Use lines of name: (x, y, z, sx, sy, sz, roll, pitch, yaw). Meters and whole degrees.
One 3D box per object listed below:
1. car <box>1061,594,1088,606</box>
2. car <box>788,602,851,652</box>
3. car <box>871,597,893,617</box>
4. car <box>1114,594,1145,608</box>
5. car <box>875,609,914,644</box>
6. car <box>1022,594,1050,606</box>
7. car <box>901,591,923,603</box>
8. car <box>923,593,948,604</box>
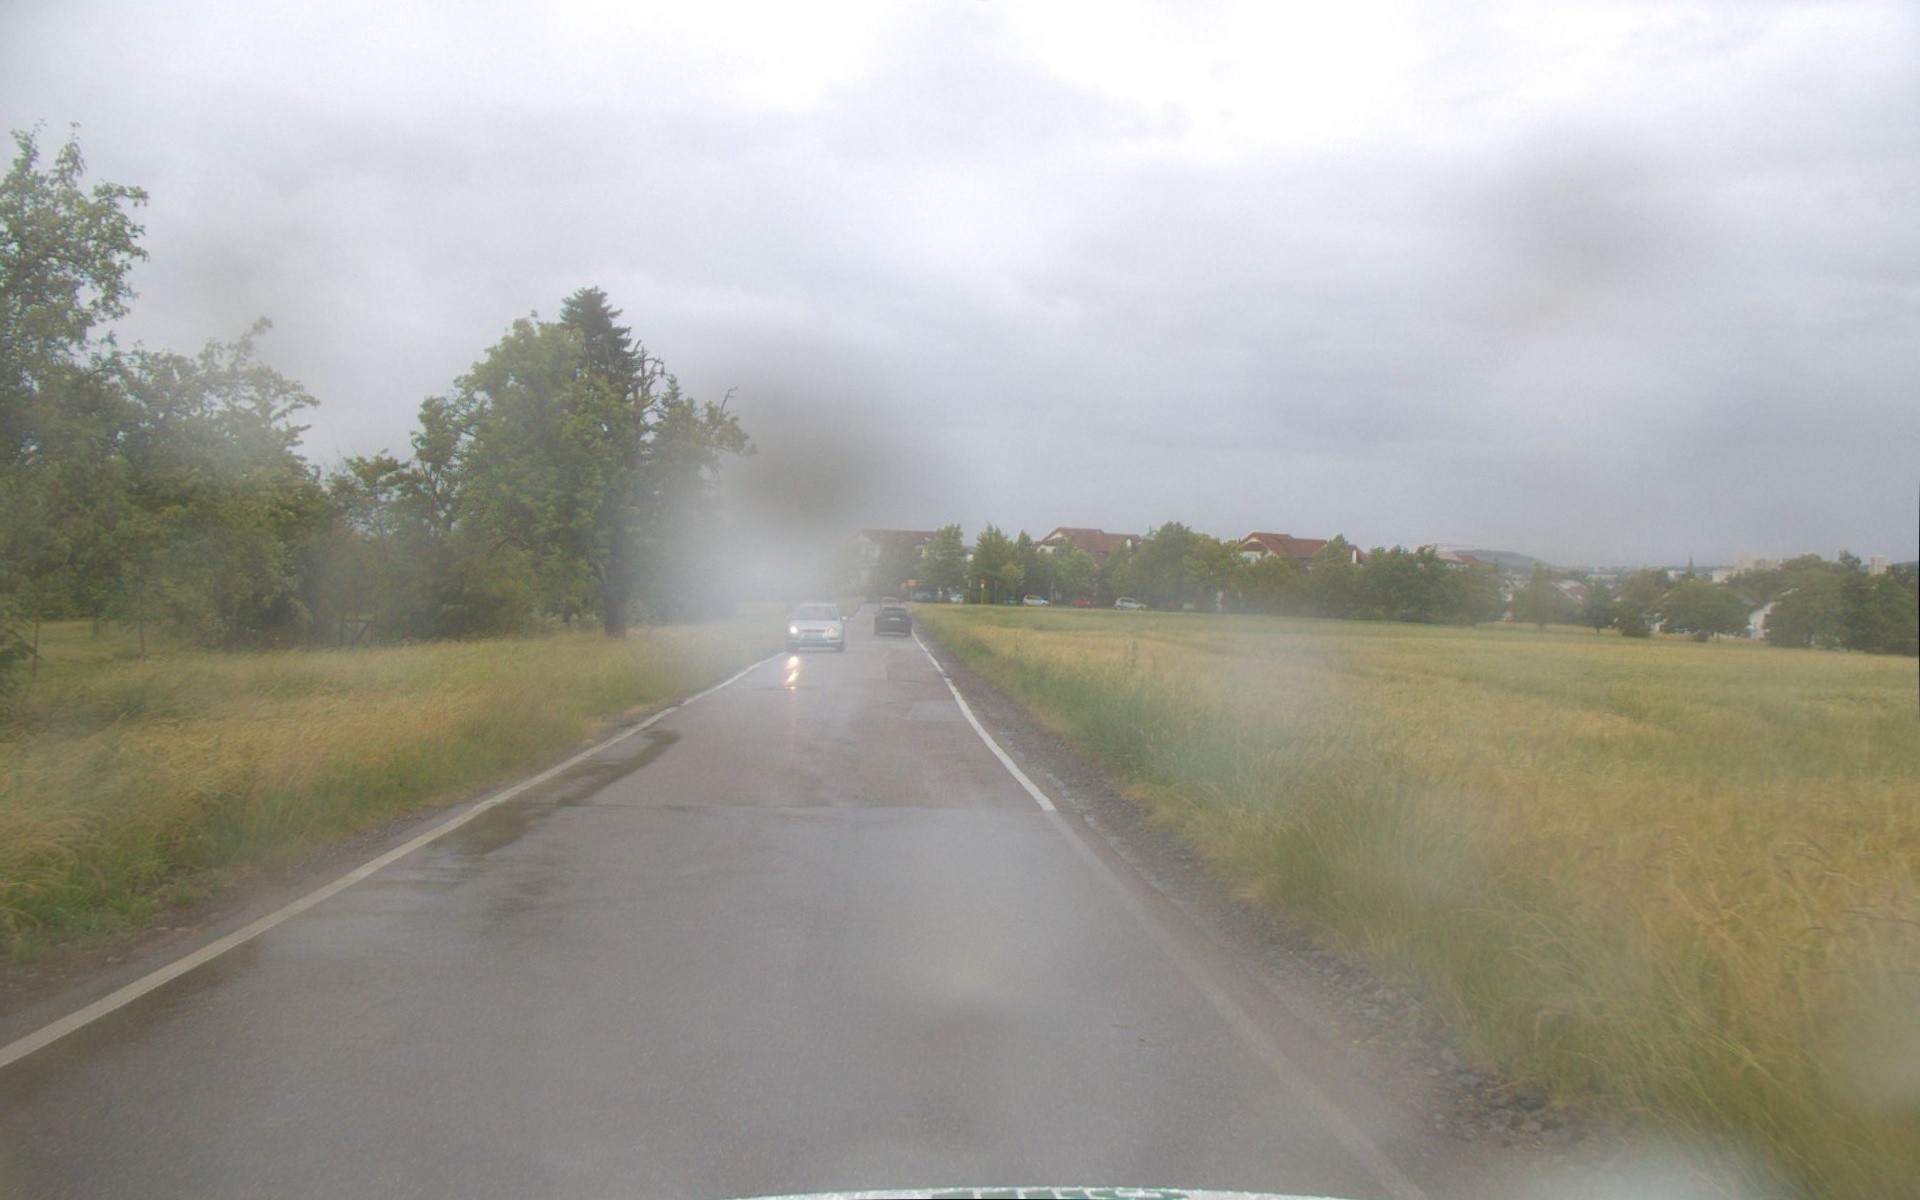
car: (14.338, -0.047, 206.549, 3.124, 1.395, 1.573, 1, -1, 11)
car: (-4.367, 0.855, 51.884, 1.704, 1.497, 4.121, 1, -1, -1)
car: (-6.682, 0.615, 142.525, 1.778, 1.622, 3.998, 1, -1, -1)
car: (21.004, 0.148, 205.250, 3.630, 1.591, 1.611, 1, -1, 11)
car: (-3.095, 1.287, 79.093, 1.778, 1.622, 3.998, 1, -1, -1)
car: (9.531, -0.031, 207.337, 3.317, 1.395, 1.549, 1, -1, 11)
car: (-6.843, -0.424, 234.745, 1.627, 1.574, 3.999, 1, -1, 22)
car: (-3.530, -0.238, 241.261, 1.631, 1.574, 3.988, 0, -2, 33)
